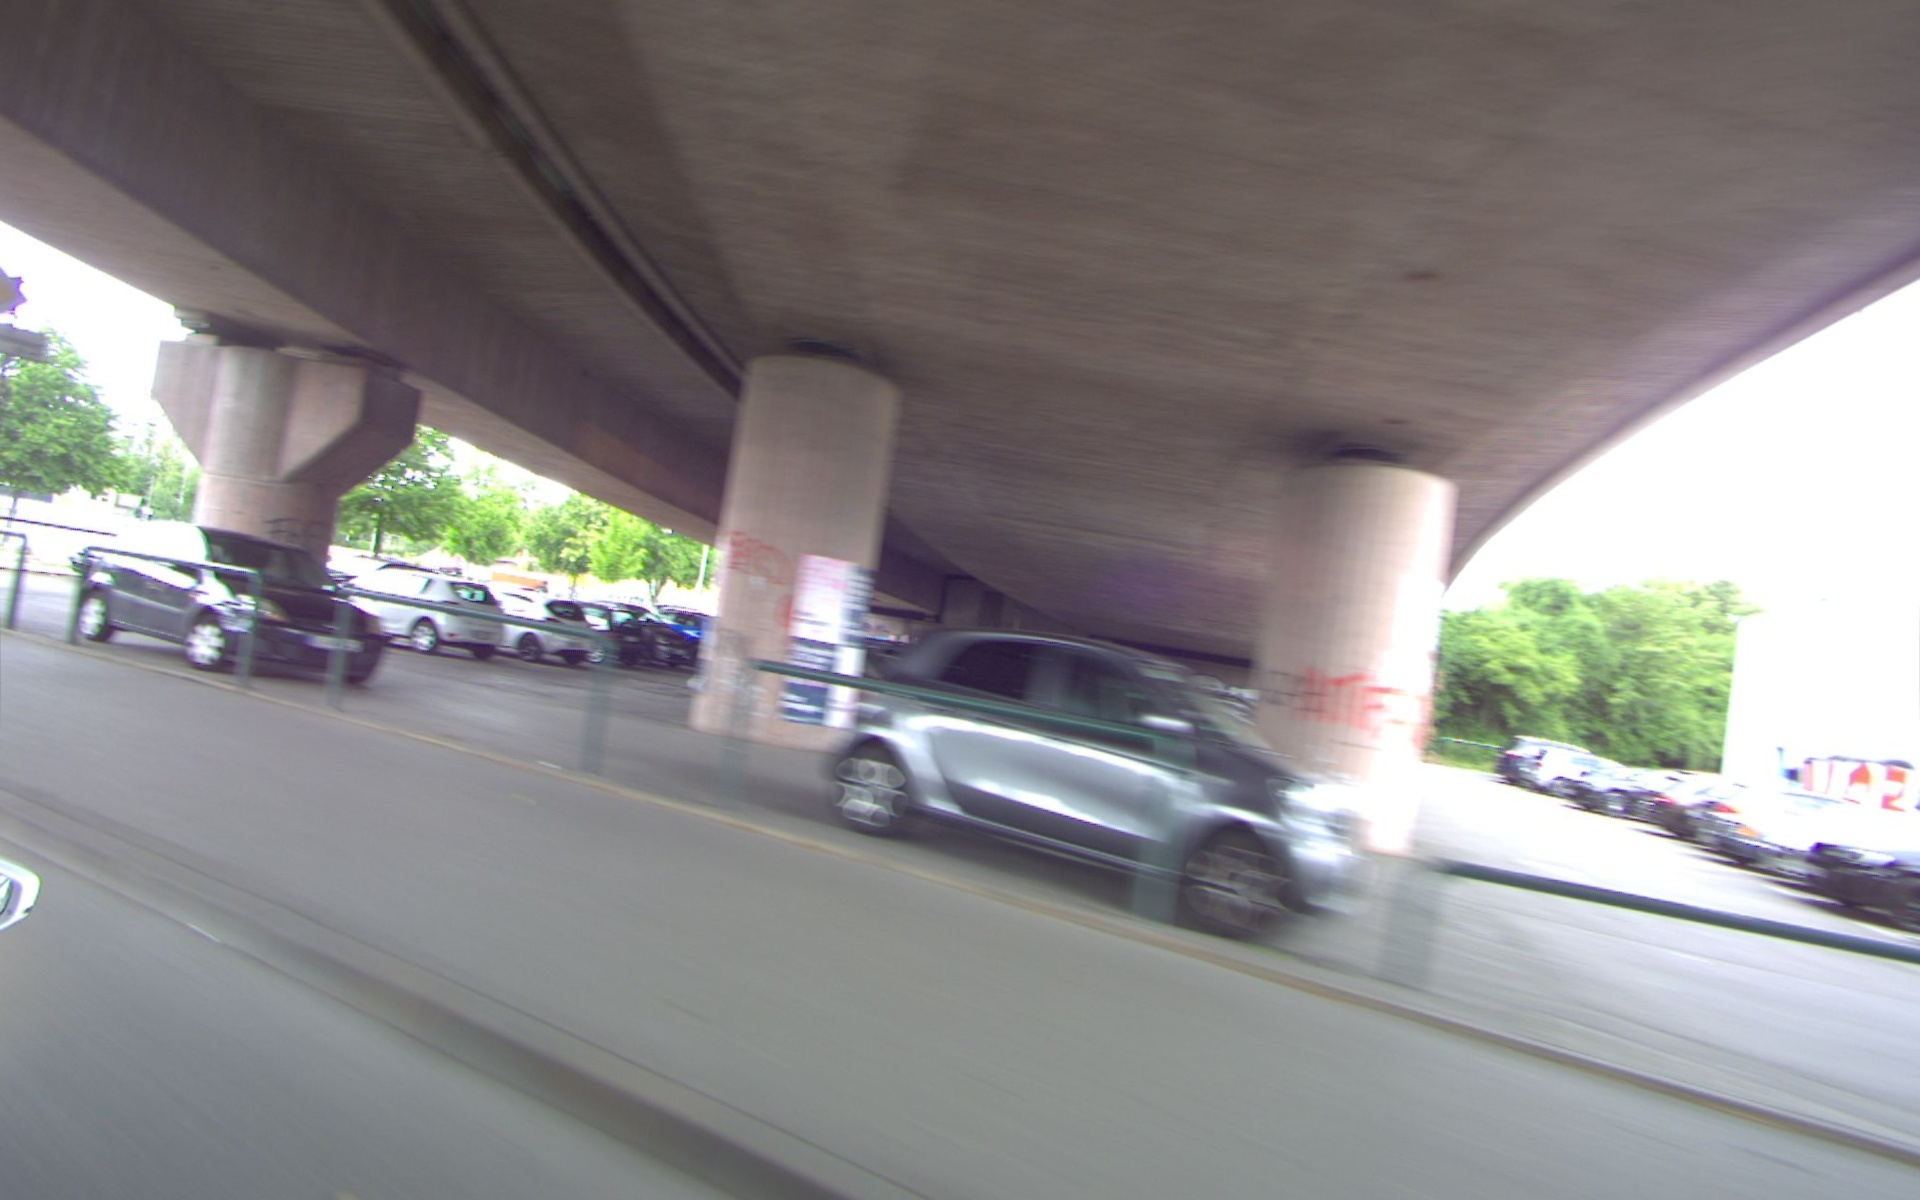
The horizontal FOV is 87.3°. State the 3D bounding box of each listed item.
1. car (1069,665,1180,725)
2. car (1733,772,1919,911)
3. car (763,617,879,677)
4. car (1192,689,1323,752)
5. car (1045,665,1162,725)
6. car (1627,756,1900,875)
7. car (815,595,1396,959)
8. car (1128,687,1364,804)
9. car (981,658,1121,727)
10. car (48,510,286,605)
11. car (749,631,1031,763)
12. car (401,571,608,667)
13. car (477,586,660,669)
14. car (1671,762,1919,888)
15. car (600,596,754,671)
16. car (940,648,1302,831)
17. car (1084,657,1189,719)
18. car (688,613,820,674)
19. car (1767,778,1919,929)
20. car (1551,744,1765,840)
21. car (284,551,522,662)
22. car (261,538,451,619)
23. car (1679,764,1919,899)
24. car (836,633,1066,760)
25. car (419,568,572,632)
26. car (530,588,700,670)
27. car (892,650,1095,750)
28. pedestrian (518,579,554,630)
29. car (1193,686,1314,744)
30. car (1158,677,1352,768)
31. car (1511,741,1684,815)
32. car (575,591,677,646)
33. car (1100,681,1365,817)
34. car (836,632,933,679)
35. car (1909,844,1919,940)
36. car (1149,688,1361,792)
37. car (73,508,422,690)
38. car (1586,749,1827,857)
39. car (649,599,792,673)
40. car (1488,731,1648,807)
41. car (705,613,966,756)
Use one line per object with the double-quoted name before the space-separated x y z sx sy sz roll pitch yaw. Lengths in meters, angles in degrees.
"car" 6.023 3.459 36.741 3.594 1.616 1.681 8 -2 19
"car" 14.720 3.860 15.356 4.113 1.610 1.841 8 -2 19
"car" -5.221 1.797 38.023 3.788 1.656 1.761 8 -2 12
"car" 10.410 4.199 35.267 4.113 1.482 1.841 8 -2 19
"car" 4.949 3.259 34.558 3.594 1.443 1.681 8 -2 19
"car" 17.285 4.597 21.903 4.113 1.610 1.841 8 -2 19
"car" 0.956 1.029 6.756 3.351 1.549 1.612 7 -4 29
"car" 5.565 2.777 19.727 4.113 1.482 1.841 8 -2 19
"car" 2.772 2.781 30.451 3.790 1.443 1.681 8 -2 19
"car" -16.947 -0.847 21.724 1.482 1.344 3.706 9 -3 18
"car" -1.196 1.646 17.232 4.300 1.485 1.841 7 -4 23
"car" -10.170 0.453 22.573 3.788 1.526 1.701 8 -2 12
"car" -9.725 0.698 25.103 3.788 1.459 1.701 8 -2 12
"car" 16.729 4.396 19.666 4.113 1.610 1.841 8 -2 19
"car" -8.223 1.005 29.347 3.788 1.573 1.761 8 -2 12
"car" 1.834 1.605 12.104 3.806 1.522 1.786 4 -6 42
"car" 6.875 3.417 39.025 3.594 1.808 1.886 8 -2 18
"car" -6.892 1.478 33.826 3.788 1.450 1.761 8 -2 12
"car" 13.599 3.593 13.251 4.113 1.610 1.841 8 -2 19
"car" 18.190 4.976 26.434 4.113 1.610 1.841 8 -2 19
"car" -11.026 0.148 19.981 3.935 1.569 1.642 8 -2 15
"car" -15.723 -0.484 26.483 1.482 1.435 4.256 9 -3 17
"car" 15.370 4.081 17.521 4.113 1.610 1.841 8 -2 19
"car" -0.143 1.795 19.108 3.790 1.717 1.841 8 -2 19
"car" -14.370 0.047 31.415 1.739 1.335 4.382 8 -3 17
"car" -9.223 0.795 27.001 3.788 1.573 1.701 8 -2 12
"car" 0.741 2.095 21.341 3.790 1.443 1.841 8 -2 19
"pedestrian" -17.320 0.194 41.099 0.723 1.928 0.826 7 -2 15
"car" 10.972 4.271 37.675 4.113 1.482 1.841 8 -2 19
"car" 8.424 3.459 28.908 5.010 1.696 2.094 8 -2 19
"car" 19.853 5.528 31.530 4.113 1.424 1.841 8 -2 19
"car" -12.663 0.753 38.426 1.586 1.552 4.077 8 -3 14
"car" 4.744 2.530 17.664 4.113 1.567 1.841 8 -2 19
"car" -3.310 2.473 44.400 3.788 1.495 1.761 8 -2 12
"car" 13.194 3.417 10.603 4.113 1.610 1.841 8 -2 19
"car" 6.393 2.983 21.955 4.113 1.482 1.841 8 -2 19
"car" -7.874 -0.025 11.091 3.518 1.411 1.612 7 -4 29
"car" 17.681 4.774 24.082 4.113 1.610 1.841 8 -2 19
"car" -7.469 1.149 31.537 3.788 1.713 1.761 8 -2 12
"car" 20.295 5.607 33.779 4.113 1.707 1.841 8 -2 19
"car" -1.809 1.251 14.874 3.311 1.515 1.534 8 -4 19
